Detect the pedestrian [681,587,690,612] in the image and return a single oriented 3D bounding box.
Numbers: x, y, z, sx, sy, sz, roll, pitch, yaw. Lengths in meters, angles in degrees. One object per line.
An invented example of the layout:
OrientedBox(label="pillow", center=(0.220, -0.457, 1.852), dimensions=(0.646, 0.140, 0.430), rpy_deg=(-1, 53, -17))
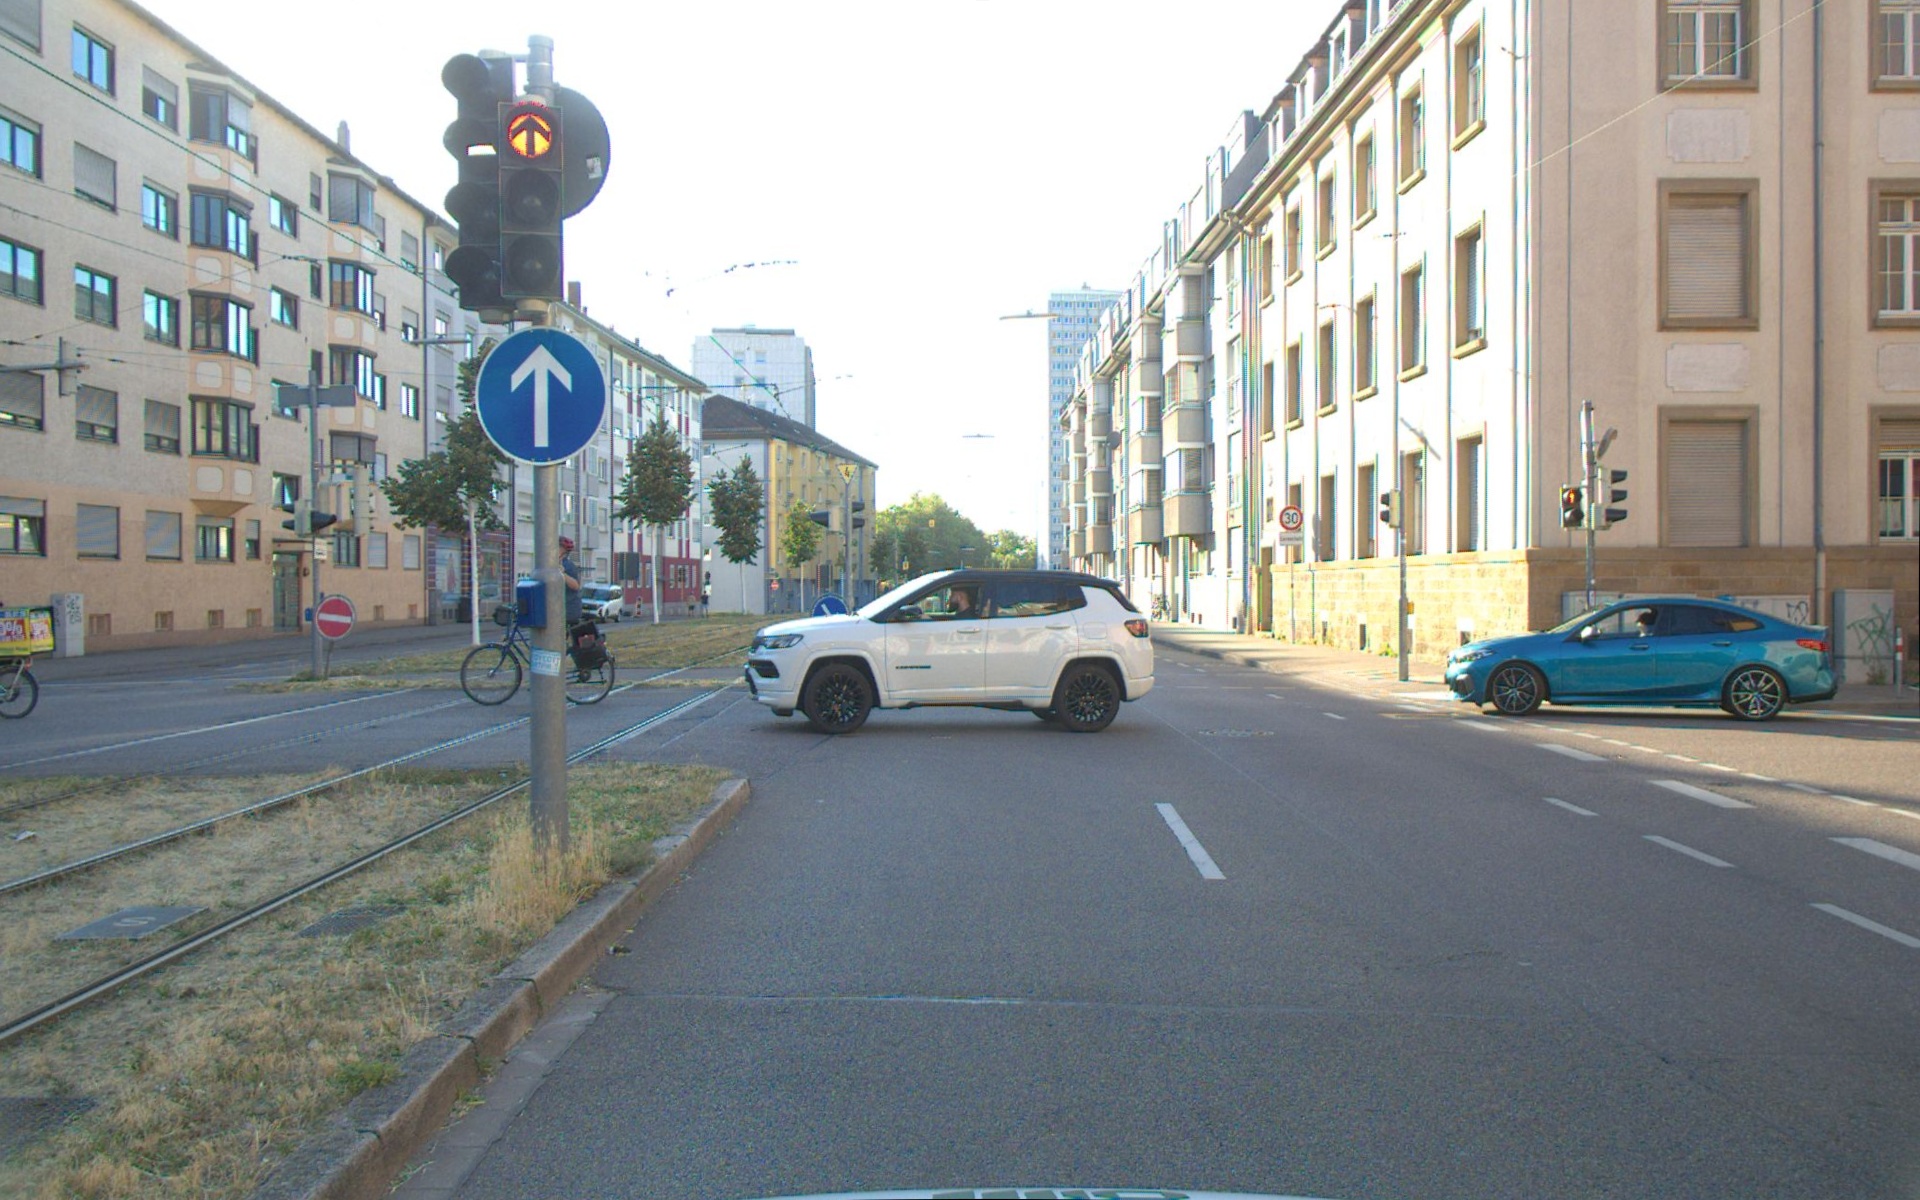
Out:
OrientedBox(label="pedestrian", center=(-18.436, -0.056, 111.044), dimensions=(0.485, 1.687, 0.408), rpy_deg=(-1, 0, -1))

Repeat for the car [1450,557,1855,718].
OrientedBox(label="car", center=(8.348, 0.419, 20.351), dimensions=(4.366, 1.759, 2.001), rpy_deg=(1, 0, 18))

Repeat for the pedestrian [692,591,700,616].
OrientedBox(label="pedestrian", center=(-17.744, 0.256, 111.100), dimensions=(0.485, 1.687, 0.408), rpy_deg=(-1, 0, -1))

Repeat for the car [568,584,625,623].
OrientedBox(label="car", center=(-17.781, 0.163, 81.099), dimensions=(1.774, 1.829, 4.245), rpy_deg=(1, 0, 1))

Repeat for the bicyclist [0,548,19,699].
OrientedBox(label="bicyclist", center=(-11.715, 0.265, 19.499), dimensions=(0.777, 1.784, 0.720), rpy_deg=(1, -1, -3))

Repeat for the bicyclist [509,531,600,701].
OrientedBox(label="bicyclist", center=(-4.922, 0.187, 20.138), dimensions=(0.940, 2.023, 0.672), rpy_deg=(-1, 0, -4))

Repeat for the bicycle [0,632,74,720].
OrientedBox(label="bicycle", center=(-11.705, 0.930, 19.507), dimensions=(2.031, 0.975, 0.746), rpy_deg=(-3, 0, -4))

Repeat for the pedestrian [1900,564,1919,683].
OrientedBox(label="pedestrian", center=(14.273, 0.330, 23.880), dimensions=(1.015, 1.712, 0.668), rpy_deg=(-1, 0, -2))

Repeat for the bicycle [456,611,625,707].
OrientedBox(label="bicycle", center=(-5.076, 0.705, 20.086), dimensions=(1.905, 1.113, 0.575), rpy_deg=(-1, 0, -4))

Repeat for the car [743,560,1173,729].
OrientedBox(label="car", center=(-0.101, 0.437, 17.659), dimensions=(4.338, 1.670, 1.995), rpy_deg=(0, 0, -10))
